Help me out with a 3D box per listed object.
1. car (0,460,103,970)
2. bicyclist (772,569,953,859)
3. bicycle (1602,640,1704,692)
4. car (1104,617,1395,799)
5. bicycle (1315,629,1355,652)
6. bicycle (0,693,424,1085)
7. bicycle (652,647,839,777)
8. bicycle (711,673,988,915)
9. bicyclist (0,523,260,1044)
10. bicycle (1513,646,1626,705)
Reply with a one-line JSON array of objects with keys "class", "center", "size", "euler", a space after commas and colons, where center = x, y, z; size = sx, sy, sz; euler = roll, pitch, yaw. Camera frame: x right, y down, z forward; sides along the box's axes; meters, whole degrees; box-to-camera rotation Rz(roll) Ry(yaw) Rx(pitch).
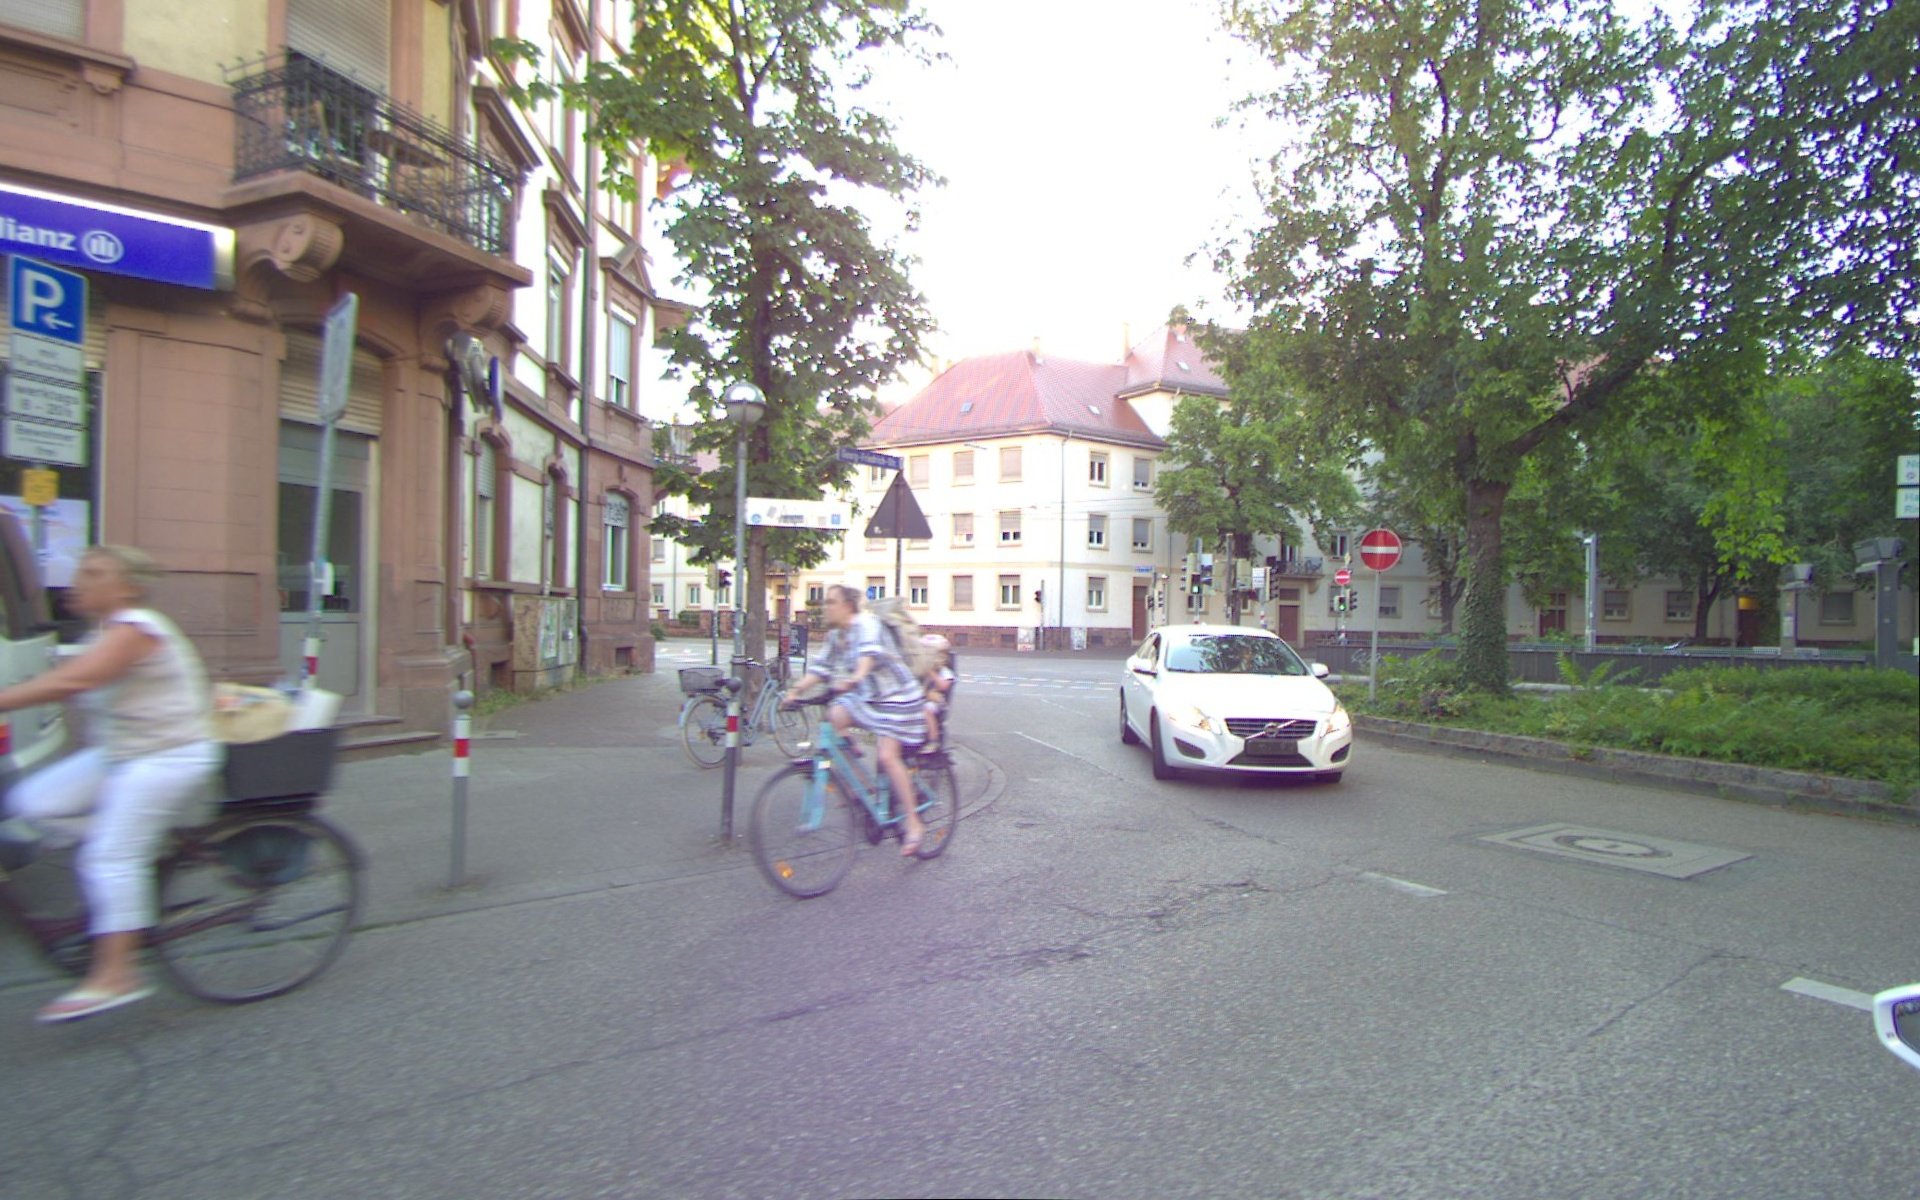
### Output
[{"class": "car", "center": [-6.387, 0.402, 3.520], "size": [4.957, 2.084, 2.026], "euler": [1, 1, -36]}, {"class": "bicyclist", "center": [-0.563, 0.622, 5.974], "size": [0.667, 1.565, 0.873], "euler": [0, -1, 31]}, {"class": "bicycle", "center": [15.245, 1.434, 22.150], "size": [1.823, 1.065, 0.545], "euler": [0, -1, 33]}, {"class": "car", "center": [2.847, 0.974, 11.112], "size": [1.960, 1.537, 4.842], "euler": [1, -1, 2]}, {"class": "bicycle", "center": [19.747, 2.121, 52.890], "size": [1.882, 1.167, 0.686], "euler": [1, -1, -2]}, {"class": "bicycle", "center": [-3.085, 0.943, 3.482], "size": [0.719, 1.109, 2.036], "euler": [0, -1, 43]}, {"class": "bicycle", "center": [-2.042, 1.031, 9.768], "size": [0.552, 1.097, 1.789], "euler": [2, 0, 40]}, {"class": "bicycle", "center": [-0.572, 1.035, 5.957], "size": [0.673, 1.109, 1.805], "euler": [0, -1, 31]}, {"class": "bicyclist", "center": [-3.066, 0.571, 3.508], "size": [0.716, 1.604, 0.870], "euler": [0, -1, 43]}, {"class": "bicycle", "center": [13.269, 1.624, 21.926], "size": [2.078, 1.167, 0.685], "euler": [0, -1, 31]}]
